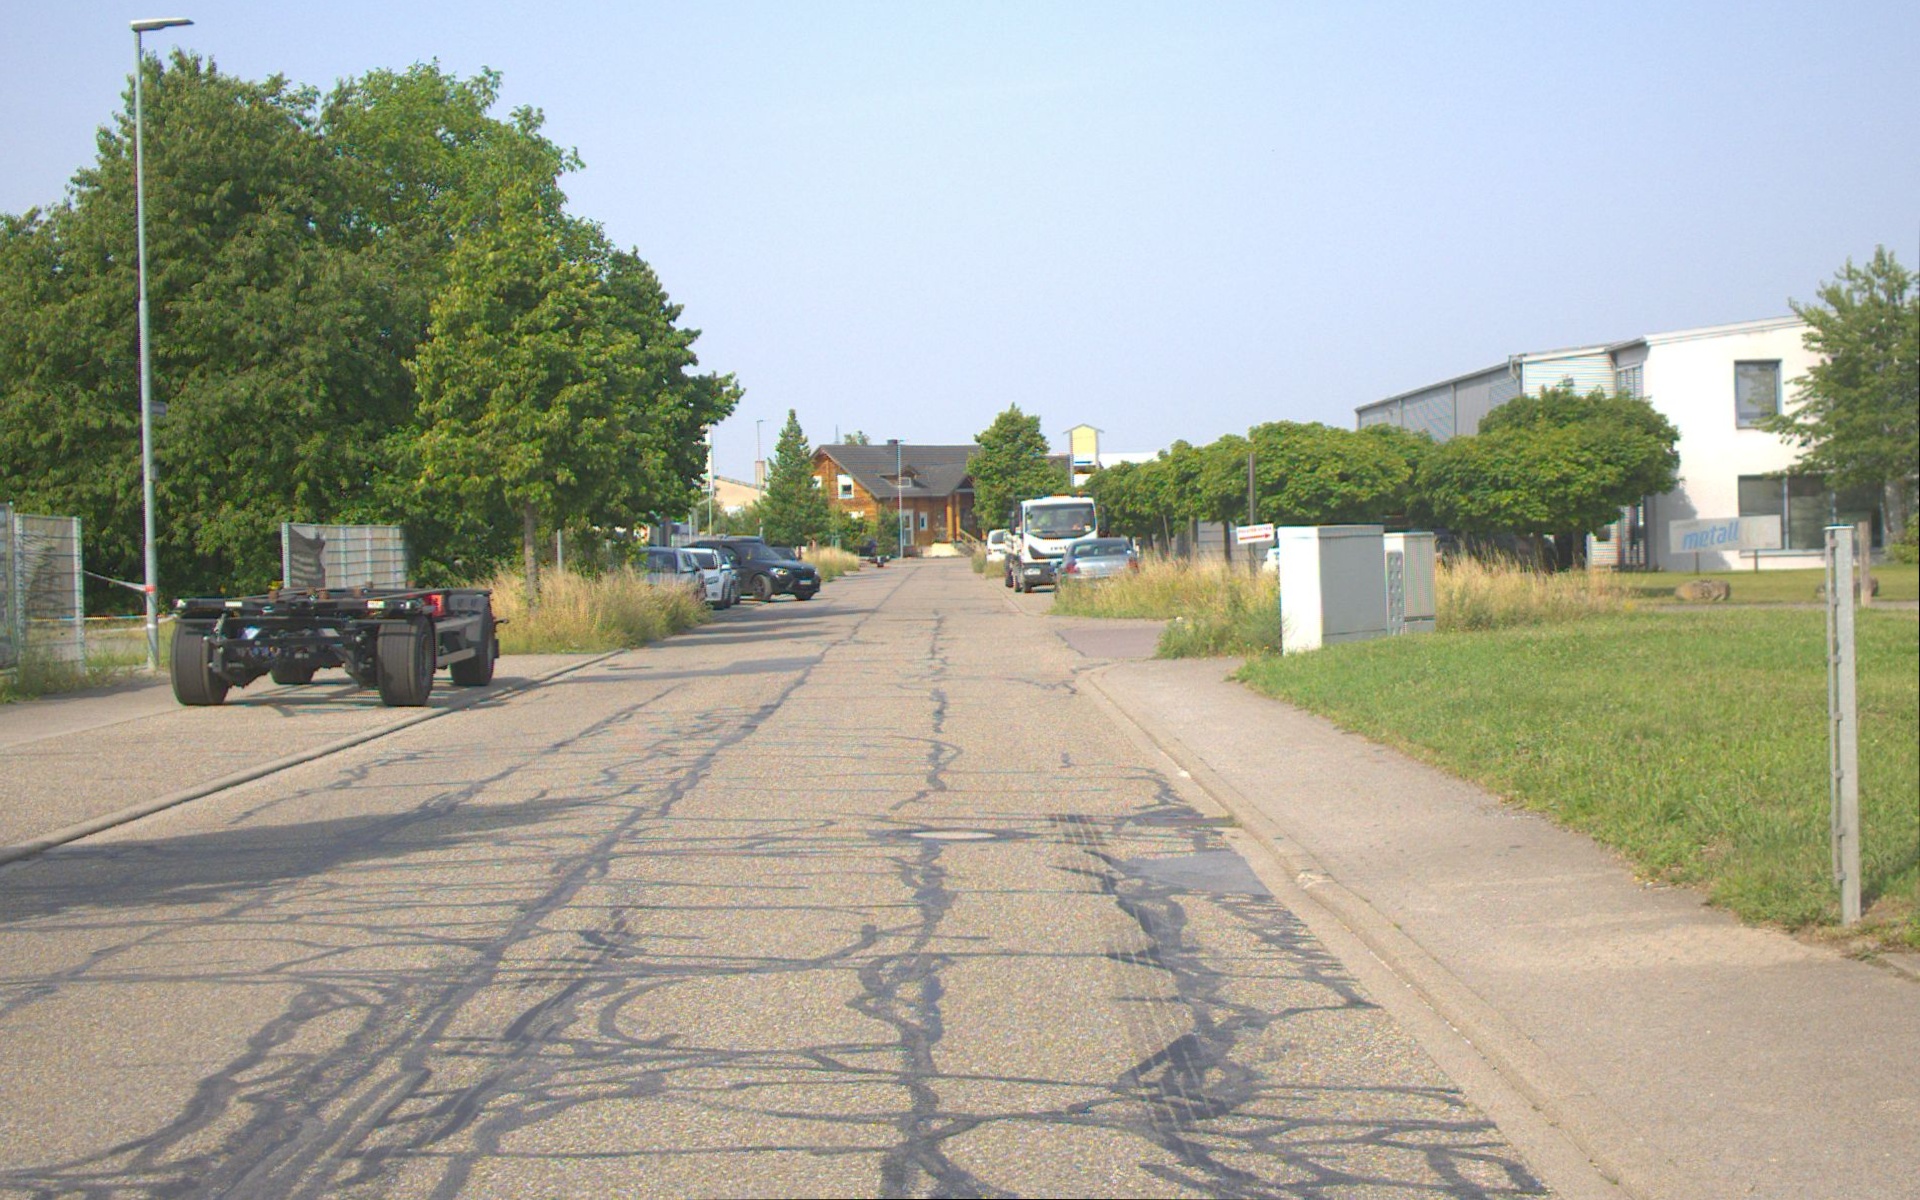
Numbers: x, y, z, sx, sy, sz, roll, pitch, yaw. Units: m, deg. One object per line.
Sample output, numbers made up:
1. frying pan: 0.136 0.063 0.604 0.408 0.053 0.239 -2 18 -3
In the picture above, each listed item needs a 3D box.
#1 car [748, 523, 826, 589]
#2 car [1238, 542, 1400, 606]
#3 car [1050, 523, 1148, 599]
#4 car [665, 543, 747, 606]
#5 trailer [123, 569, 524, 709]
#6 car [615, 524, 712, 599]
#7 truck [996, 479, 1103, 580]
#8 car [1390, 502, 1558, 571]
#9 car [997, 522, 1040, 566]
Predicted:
1. car: -4.826 -1.253 96.308 1.856 1.709 4.226 -3 1 1
2. car: 8.536 -0.616 81.573 3.687 1.375 1.687 -3 2 -39
3. car: 2.915 -0.842 72.896 1.794 1.512 4.424 -2 1 -1
4. car: -6.130 -0.643 83.289 1.683 1.464 4.254 0 1 0
5. trailer: -6.447 0.316 36.302 2.582 1.180 9.364 0 1 -1
6. car: -6.328 -0.850 73.696 1.566 1.533 3.688 -2 1 2
7. truck: 2.463 -1.985 96.446 2.359 2.672 6.512 -2 1 -4
8. car: 12.716 -1.581 84.891 4.522 1.583 1.686 -3 2 -44
9. car: 2.681 -2.585 158.726 1.837 1.917 3.756 -2 1 0
